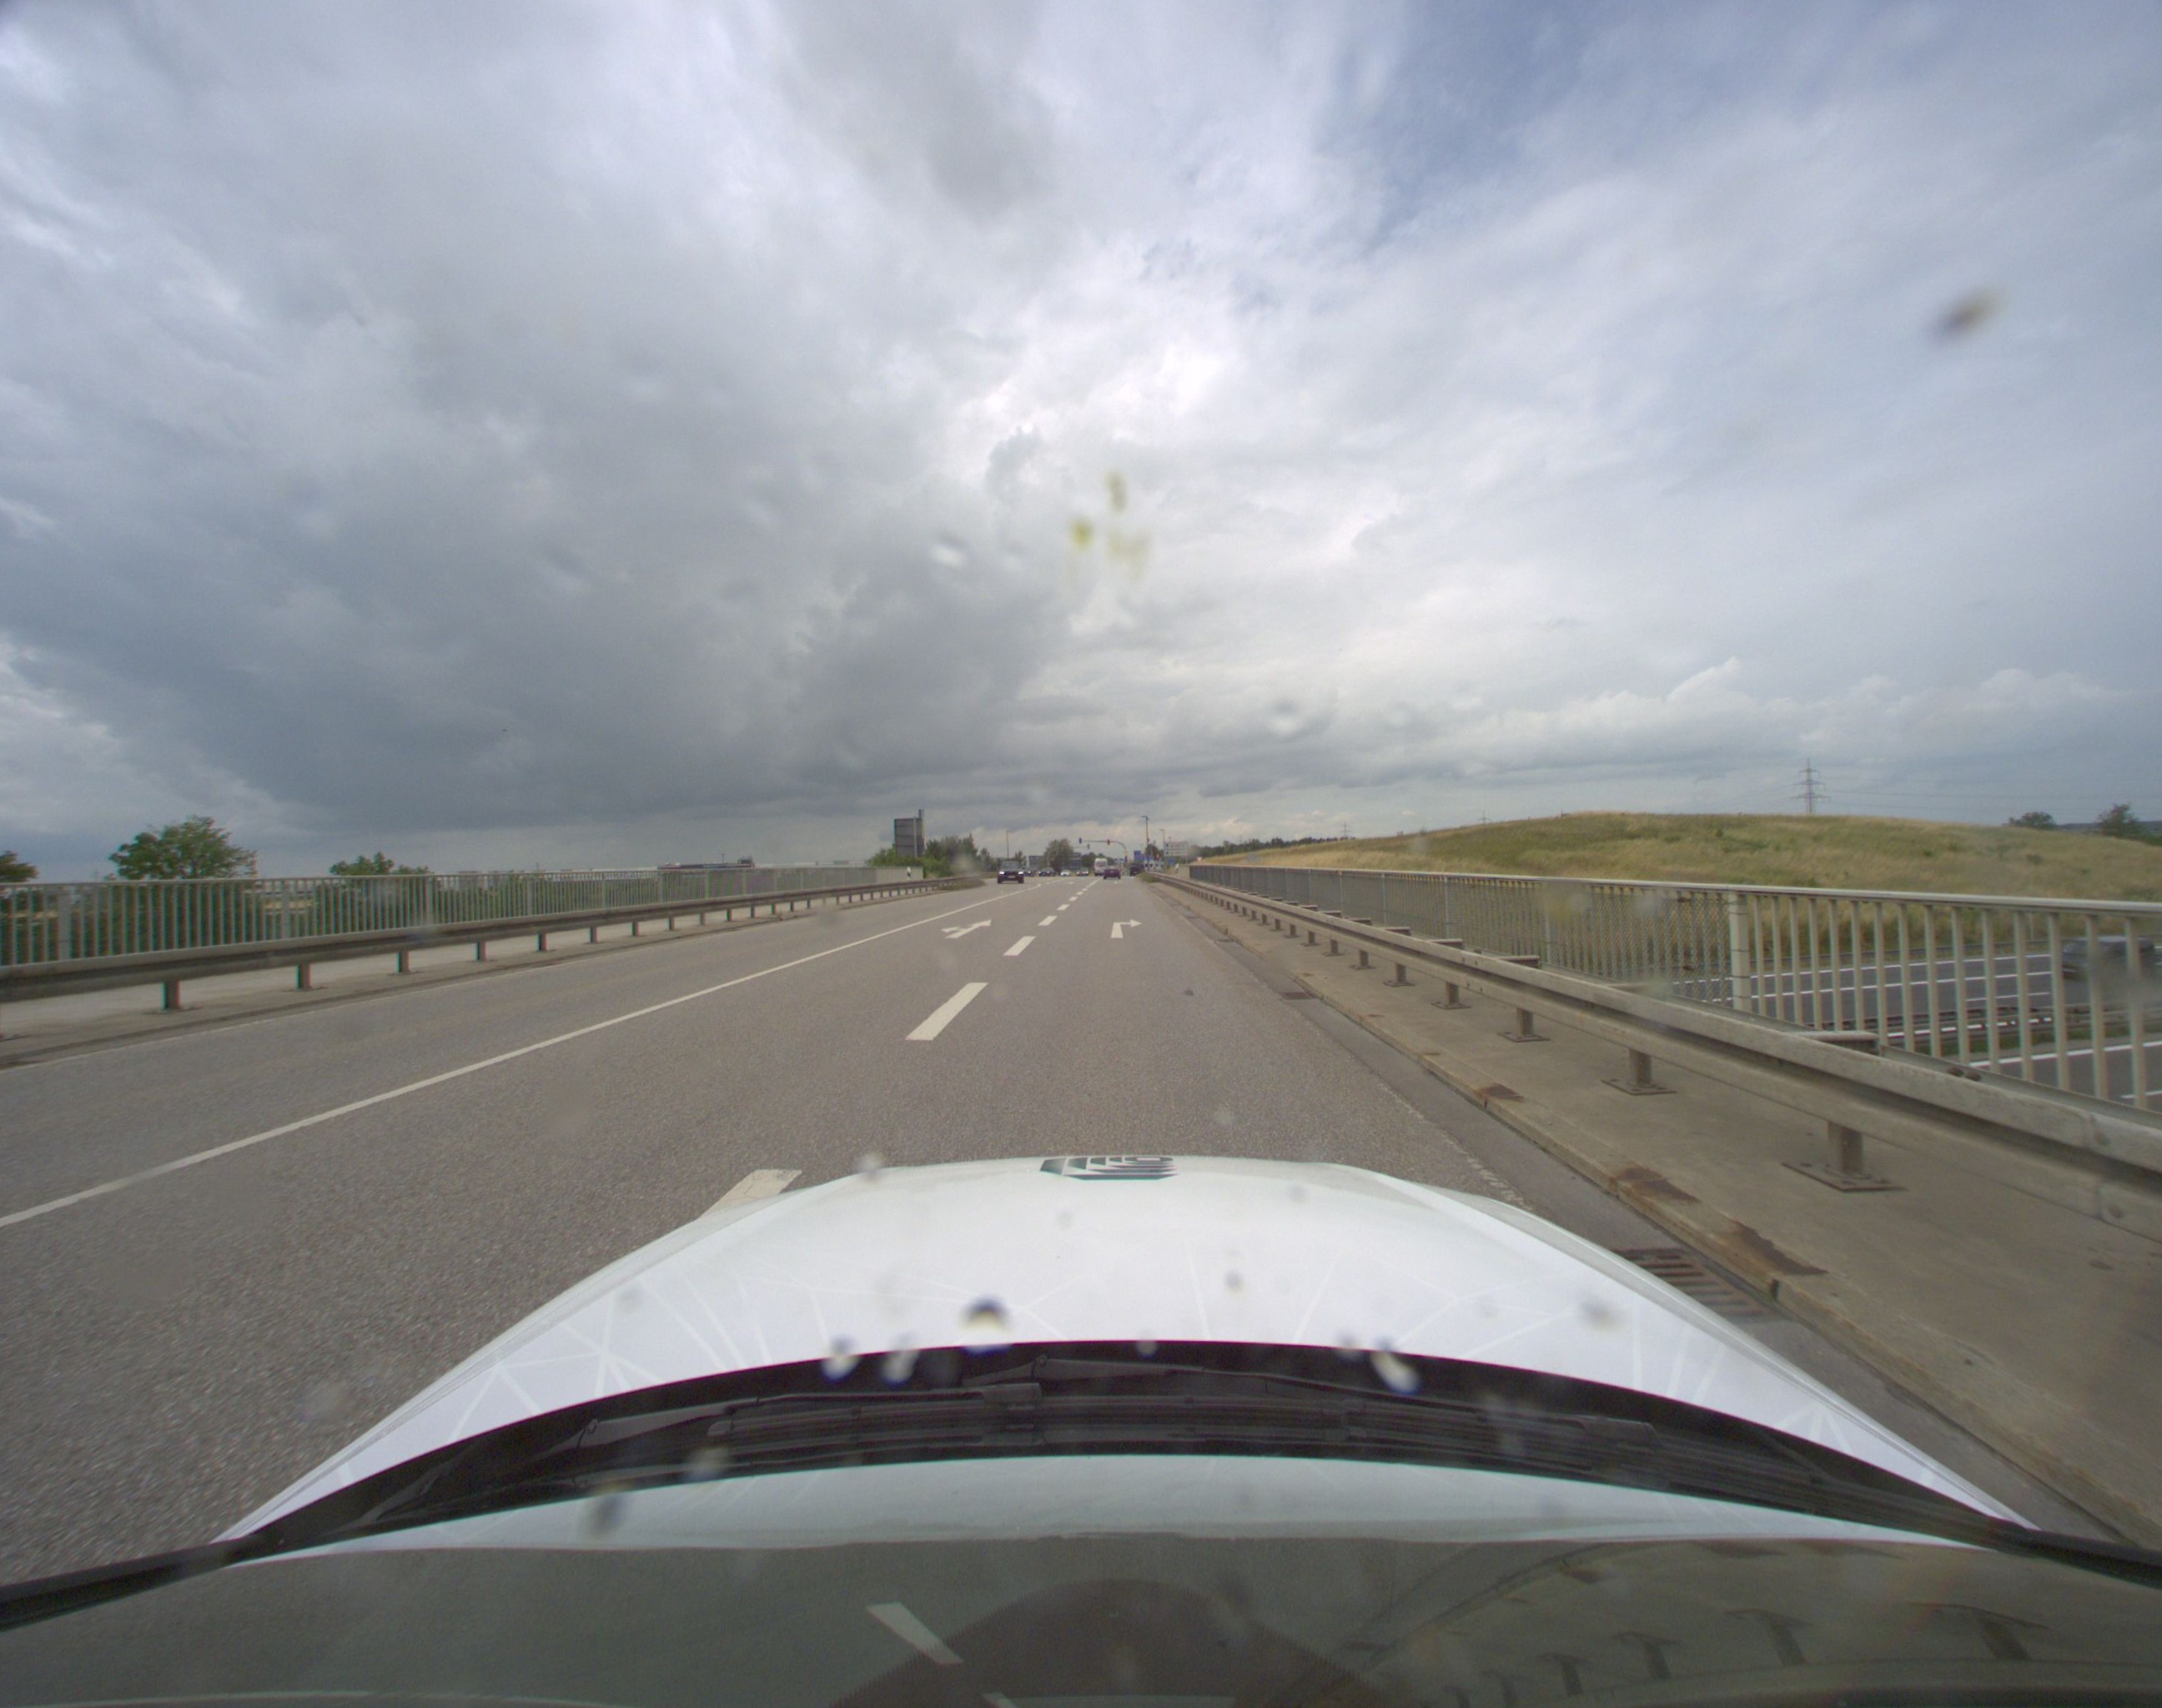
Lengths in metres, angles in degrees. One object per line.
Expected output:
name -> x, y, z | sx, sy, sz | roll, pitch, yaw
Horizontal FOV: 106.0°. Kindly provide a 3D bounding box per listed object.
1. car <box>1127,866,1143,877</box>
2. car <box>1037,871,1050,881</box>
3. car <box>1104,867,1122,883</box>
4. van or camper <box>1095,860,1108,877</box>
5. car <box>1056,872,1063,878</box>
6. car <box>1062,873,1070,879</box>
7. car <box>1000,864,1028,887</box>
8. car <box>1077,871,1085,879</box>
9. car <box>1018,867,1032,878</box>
car -> 7.887, 2.503, 118.475 | 1.670, 1.544, 3.628 | -2, -1, 13
car -> -6.148, 3.601, 132.626 | 1.802, 1.368, 4.786 | -1, 1, 1
car -> 3.230, 2.040, 80.793 | 1.510, 1.485, 3.621 | -2, -1, 6
van or camper -> 3.069, 2.137, 119.854 | 1.869, 2.581, 4.002 | 0, -1, 3
car -> -4.945, 4.749, 187.351 | 1.474, 1.282, 3.536 | -2, -1, 4
car -> -3.270, 4.869, 179.269 | 1.474, 1.282, 3.536 | -2, -1, 4
car -> -5.250, 1.669, 64.294 | 1.988, 1.732, 4.757 | 1, -1, -2
car -> -0.078, 4.558, 177.428 | 1.687, 1.368, 3.944 | -1, 2, 1
car -> -7.998, 2.654, 117.288 | 1.576, 1.558, 4.148 | -1, -1, 2
